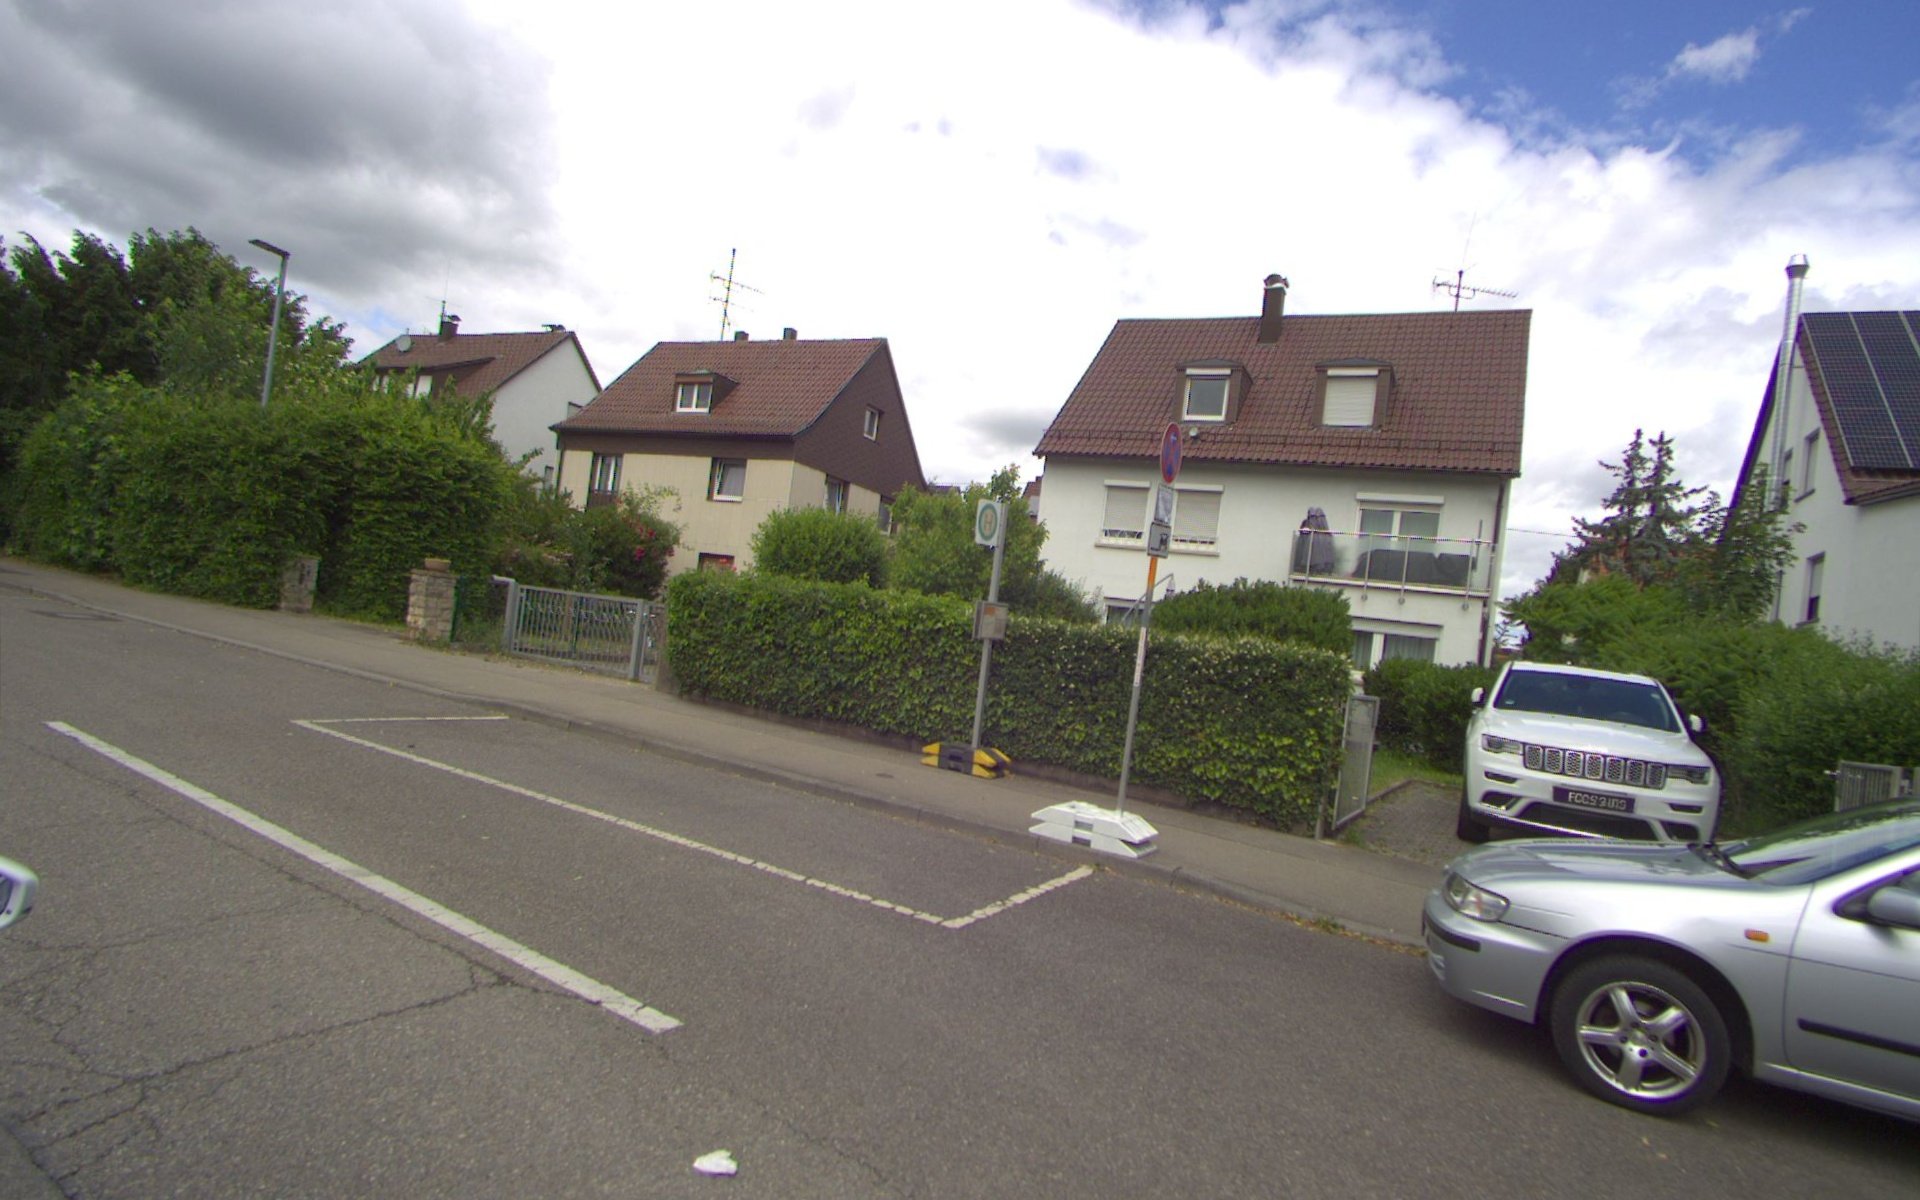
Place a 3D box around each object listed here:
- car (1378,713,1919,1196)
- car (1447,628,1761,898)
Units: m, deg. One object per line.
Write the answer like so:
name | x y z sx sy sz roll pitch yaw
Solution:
car | 4.089 1.423 3.854 4.314 1.393 1.615 5 -2 31
car | 6.082 1.446 9.937 1.965 1.844 3.997 7 -2 28
